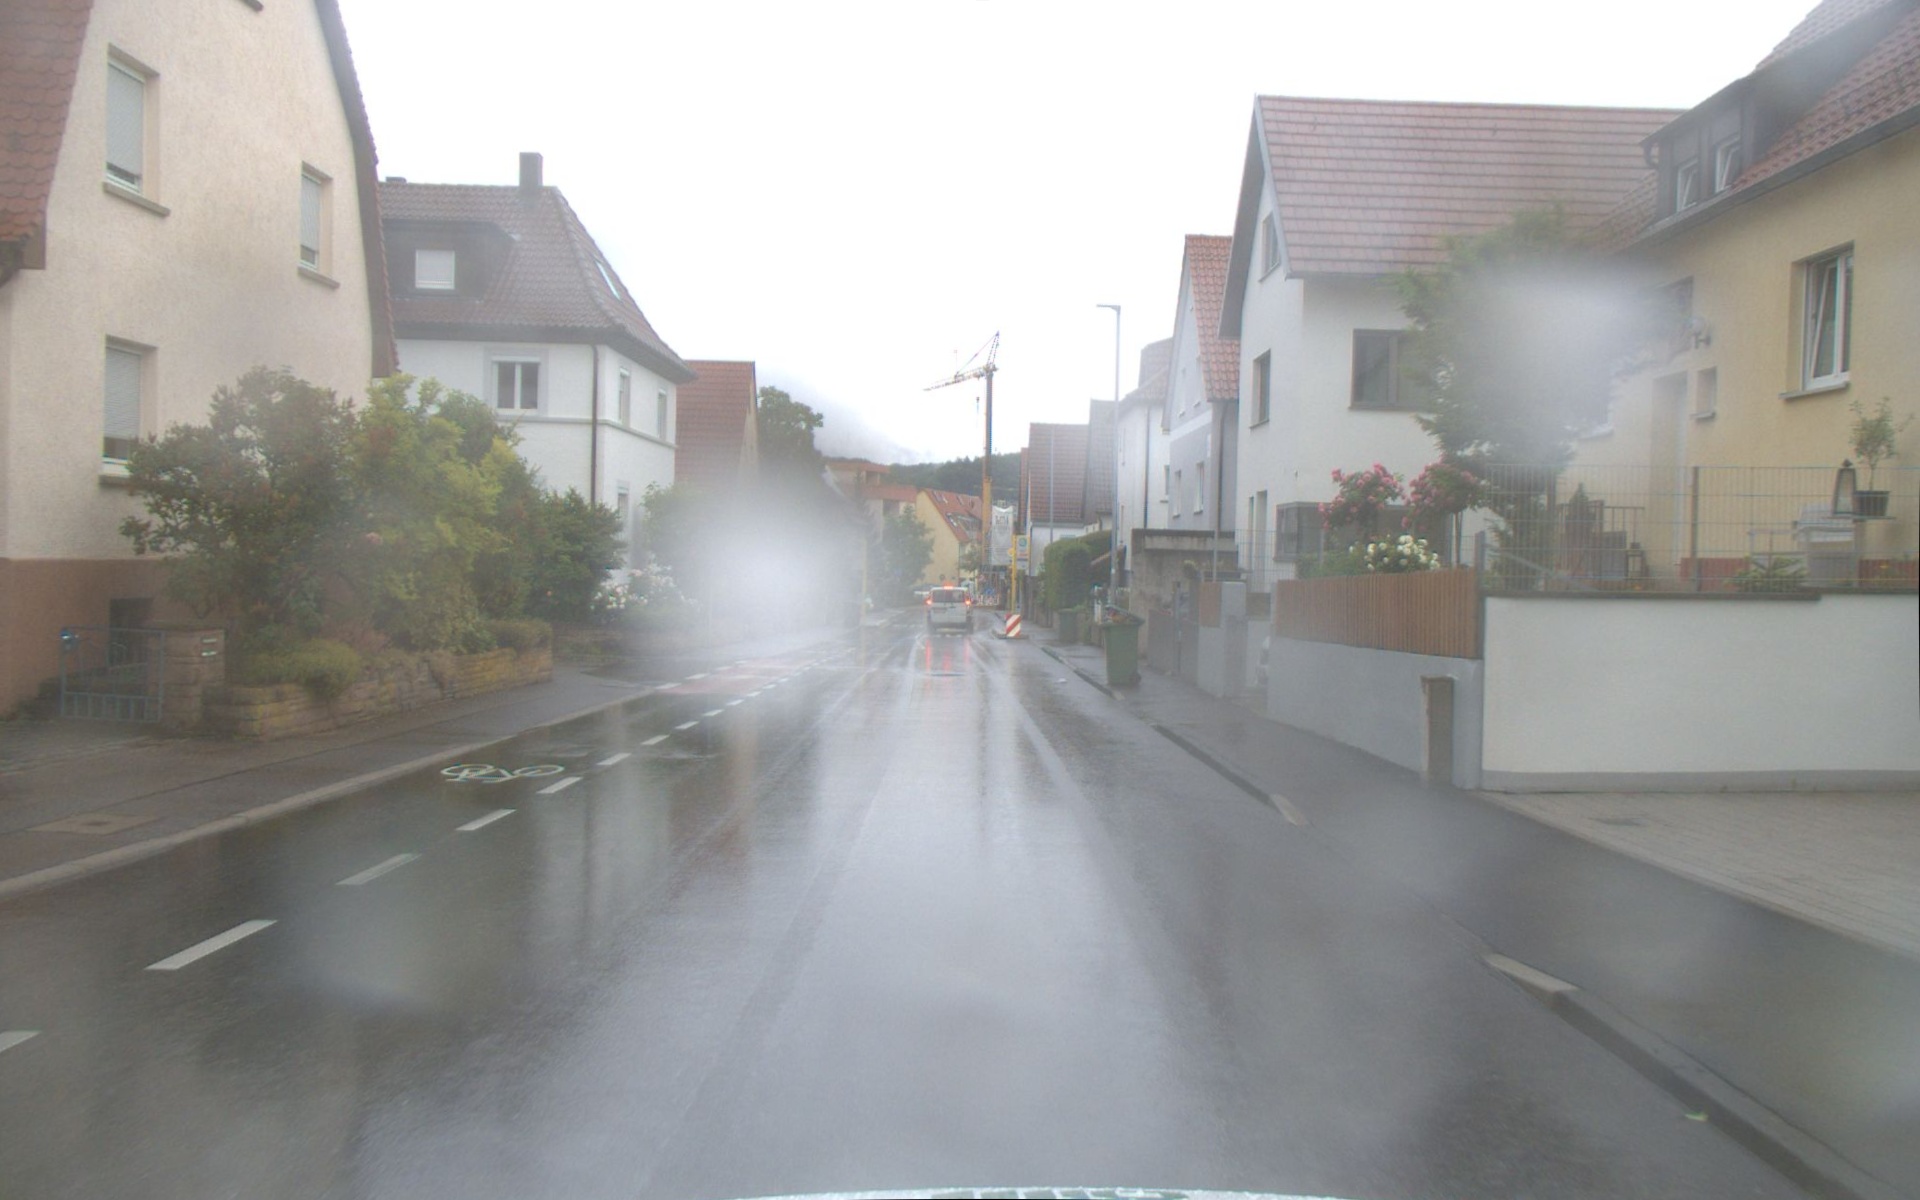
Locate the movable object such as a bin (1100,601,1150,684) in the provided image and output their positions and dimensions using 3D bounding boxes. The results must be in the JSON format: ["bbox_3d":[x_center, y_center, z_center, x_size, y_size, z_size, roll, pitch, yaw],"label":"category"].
[{"bbox_3d":[2.745,0.694,27.568,0.730,1.301,0.882,1,3,0],"label":"movable object such as a bin"}]

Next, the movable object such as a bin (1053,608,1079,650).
[{"bbox_3d":[3.512,0.961,54.735,0.769,1.299,0.714,3,3,4],"label":"movable object such as a bin"}]

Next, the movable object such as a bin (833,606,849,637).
[{"bbox_3d":[-5.499,0.999,76.134,0.669,1.345,0.639,2,3,-5],"label":"movable object such as a bin"}]

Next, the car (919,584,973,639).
[{"bbox_3d":[-0.552,0.431,68.766,2.074,1.920,4.503,3,3,0],"label":"car"}]

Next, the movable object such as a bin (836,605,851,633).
[{"bbox_3d":[-5.420,0.874,76.942,0.669,1.244,0.639,2,3,-5],"label":"movable object such as a bin"}]

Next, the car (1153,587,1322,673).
[{"bbox_3d":[5.909,0.622,35.472,3.305,1.590,1.515,3,3,-1],"label":"car"}]

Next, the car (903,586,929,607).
[{"bbox_3d":[-4.000,-0.353,151.136,1.803,1.605,4.293,3,3,4],"label":"car"}]

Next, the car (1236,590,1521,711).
[{"bbox_3d":[5.597,0.650,22.398,3.422,1.548,1.739,0,1,-1],"label":"car"}]
